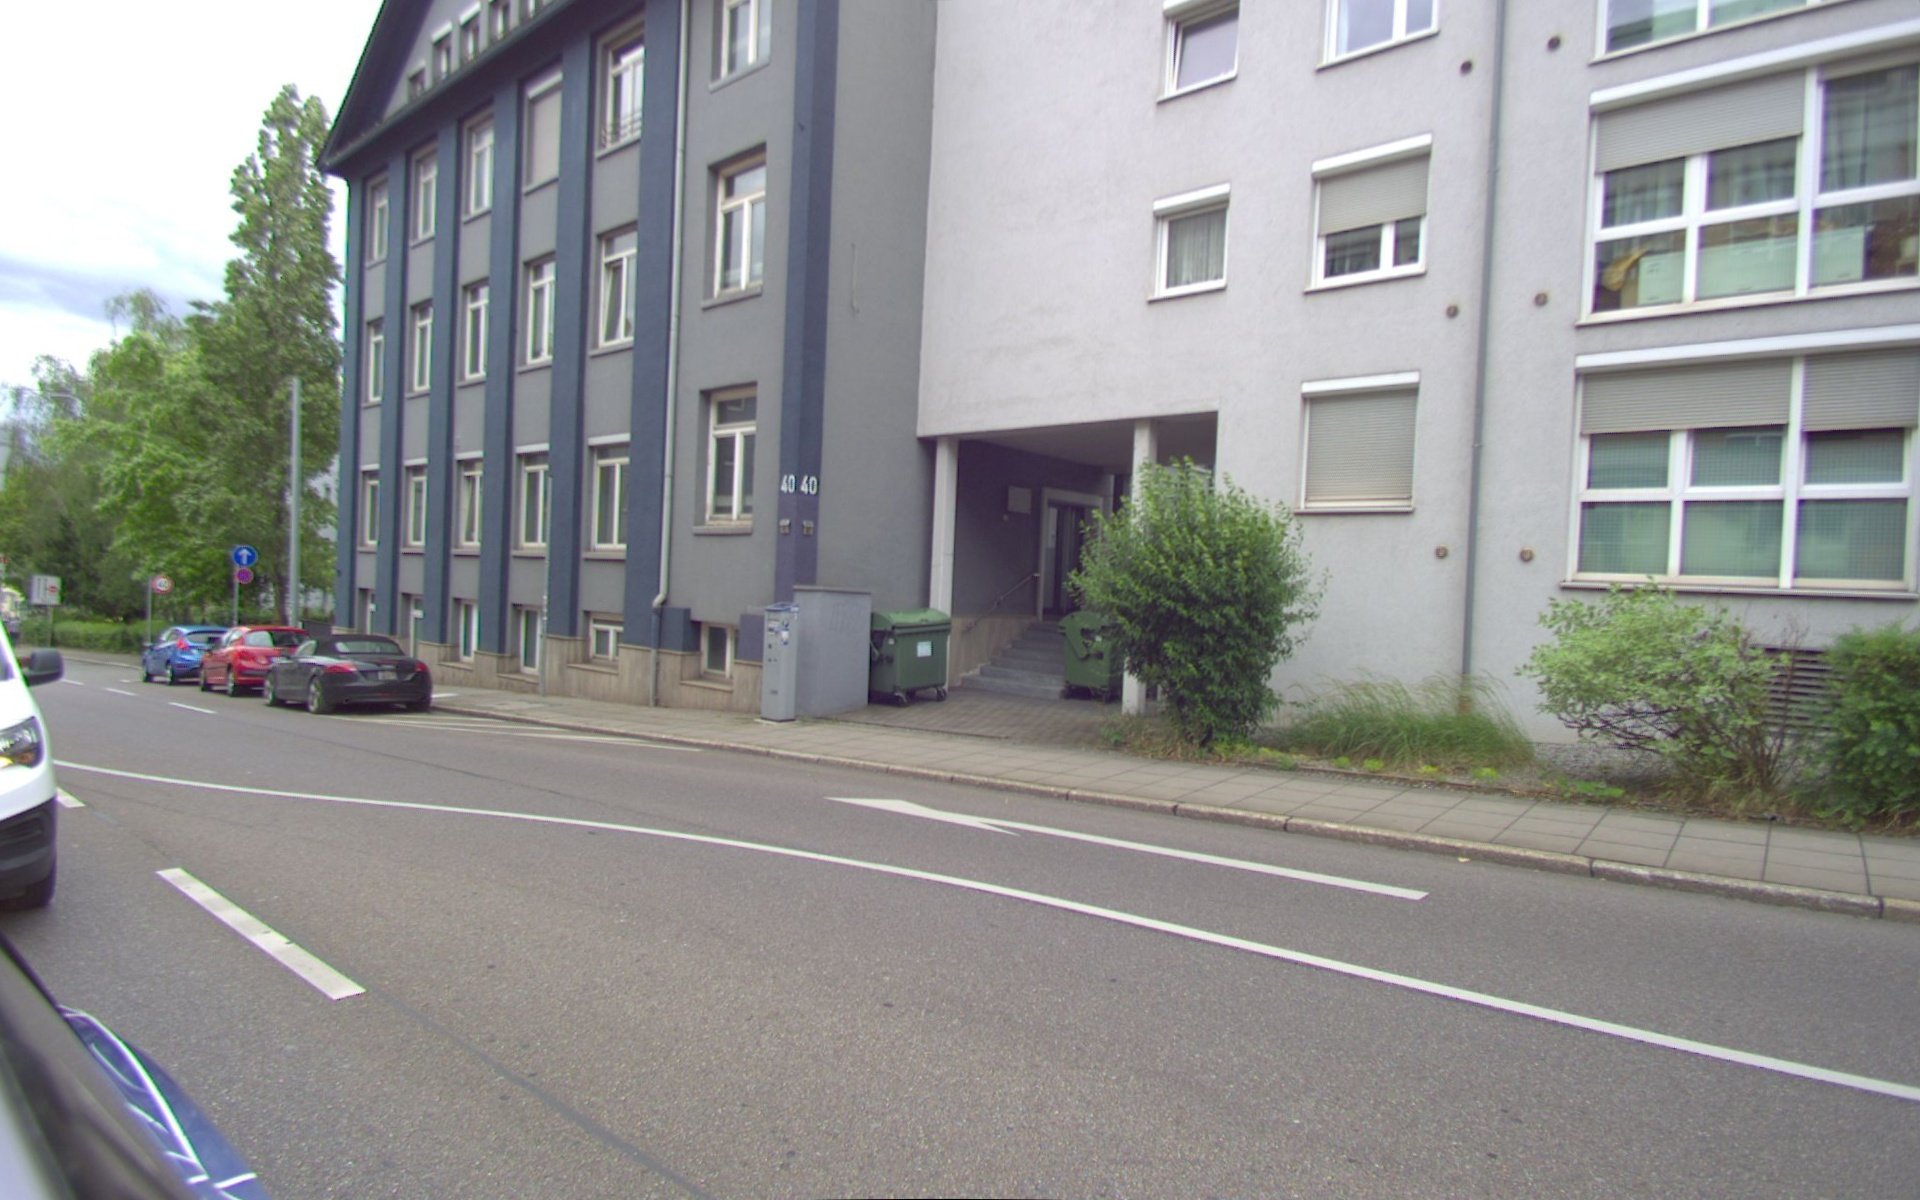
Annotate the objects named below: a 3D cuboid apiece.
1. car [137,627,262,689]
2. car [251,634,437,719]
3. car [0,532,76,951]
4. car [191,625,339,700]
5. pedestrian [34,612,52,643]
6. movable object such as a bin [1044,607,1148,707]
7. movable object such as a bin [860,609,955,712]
[{"bbox_3d":[-19.348,1.439,25.694,3.724,1.465,1.702,-1,-3,40],"label":"car"},{"bbox_3d":[-11.112,1.309,18.145,4.040,1.337,1.701,-1,-4,42],"label":"car"},{"bbox_3d":[-6.452,0.662,5.540,4.937,1.821,1.816,-1,0,42],"label":"car"},{"bbox_3d":[-15.225,1.327,22.104,3.868,1.485,1.795,-2,-4,43],"label":"car"},{"bbox_3d":[-56.133,1.702,61.918,0.776,1.864,0.736,-2,-1,42],"label":"pedestrian"},{"bbox_3d":[2.238,0.910,16.618,1.190,1.489,1.132,5,2,41],"label":"movable object such as a bin"},{"bbox_3d":[-0.804,0.899,15.685,0.784,1.467,1.251,0,1,44],"label":"movable object such as a bin"}]
